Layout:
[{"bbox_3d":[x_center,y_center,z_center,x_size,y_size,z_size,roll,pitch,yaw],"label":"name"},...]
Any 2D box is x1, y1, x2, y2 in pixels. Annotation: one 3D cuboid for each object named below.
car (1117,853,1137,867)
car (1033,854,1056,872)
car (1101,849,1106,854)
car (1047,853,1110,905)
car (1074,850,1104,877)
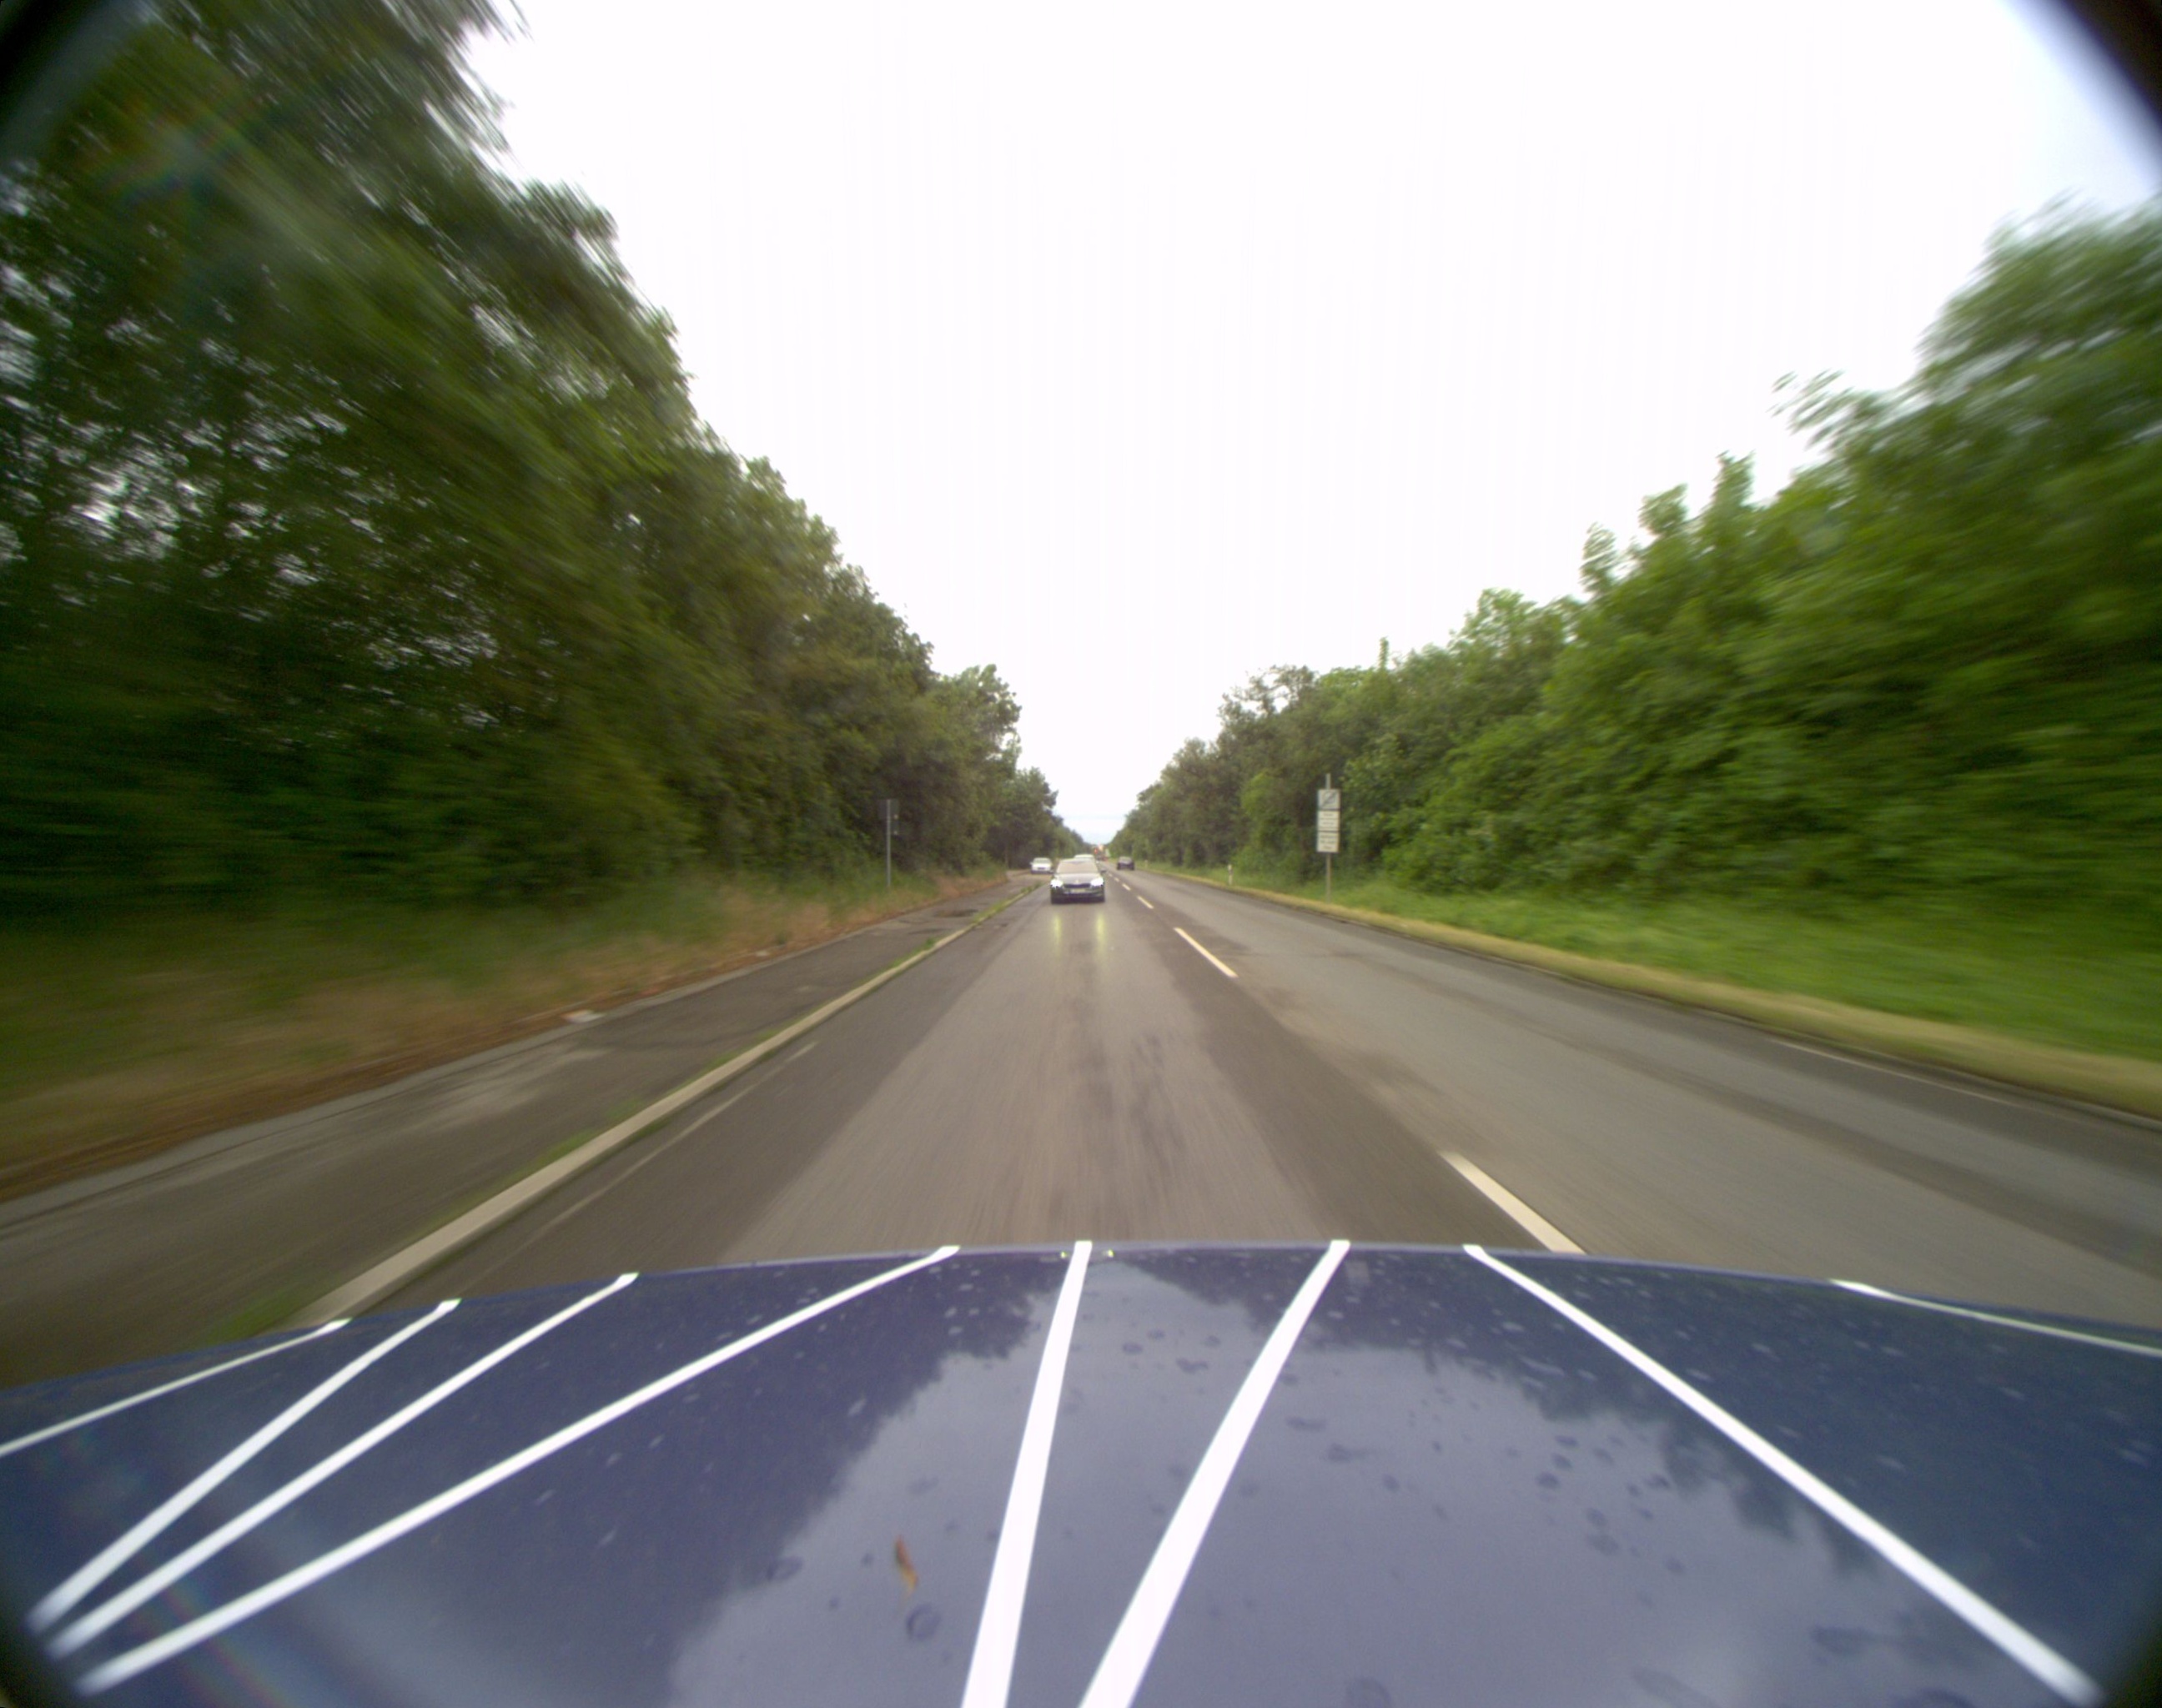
[{"bbox_3d":[5.143,0.638,85.443,1.876,1.480,4.573,2,1,0],"label":"car"},{"bbox_3d":[-3.246,0.794,68.551,1.749,1.460,4.220,1,1,1],"label":"car"},{"bbox_3d":[7.168,-0.833,242.014,1.793,1.465,3.623,1,1,0],"label":"car"},{"bbox_3d":[-0.061,0.791,26.224,1.915,1.543,4.354,-3,1,1],"label":"car"},{"bbox_3d":[0.542,0.633,51.844,1.915,1.691,3.913,-3,1,1],"label":"car"}]
